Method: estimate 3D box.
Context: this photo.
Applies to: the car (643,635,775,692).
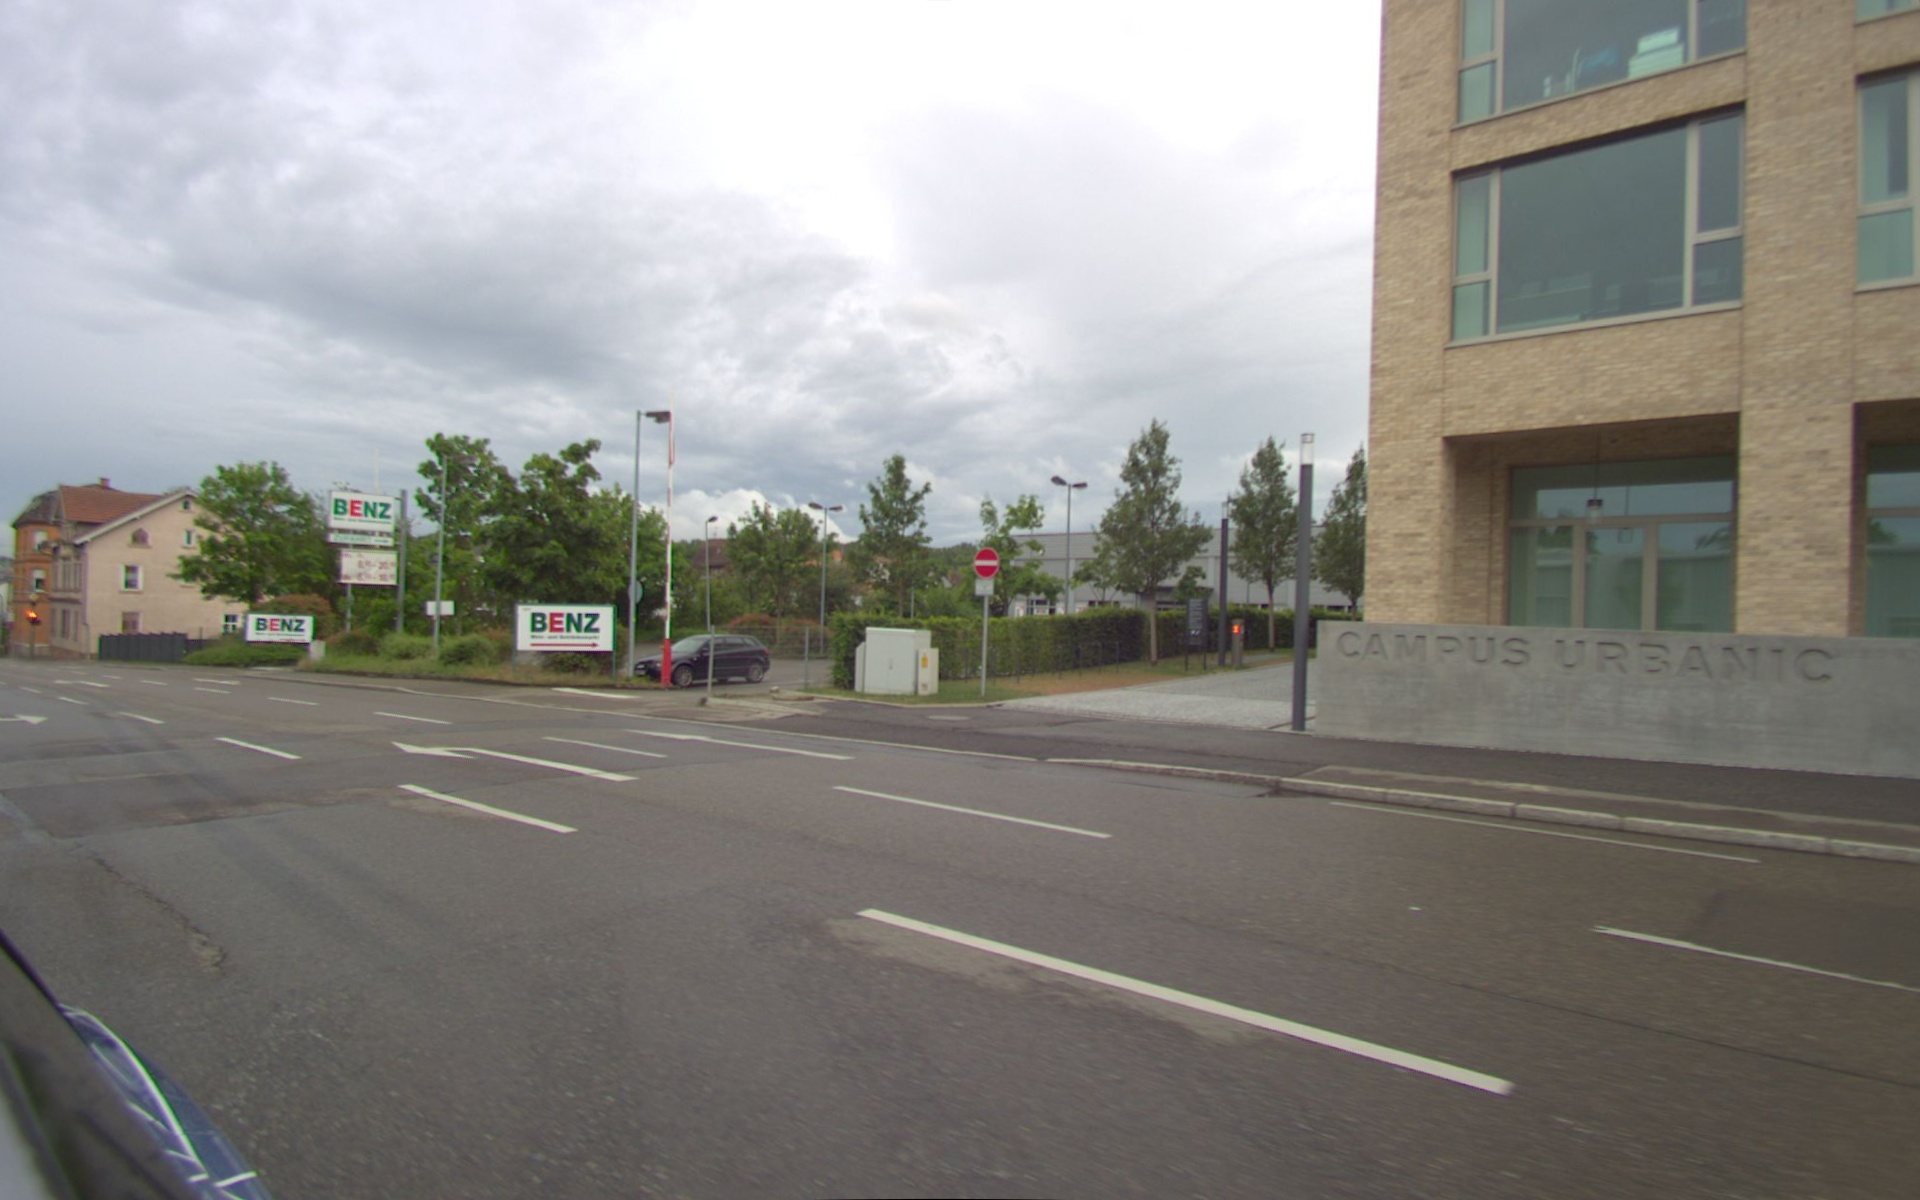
[{"bbox_3d":[-7.159,1.778,29.089,1.543,1.475,3.451,-2,-2,40],"label":"car"}]
